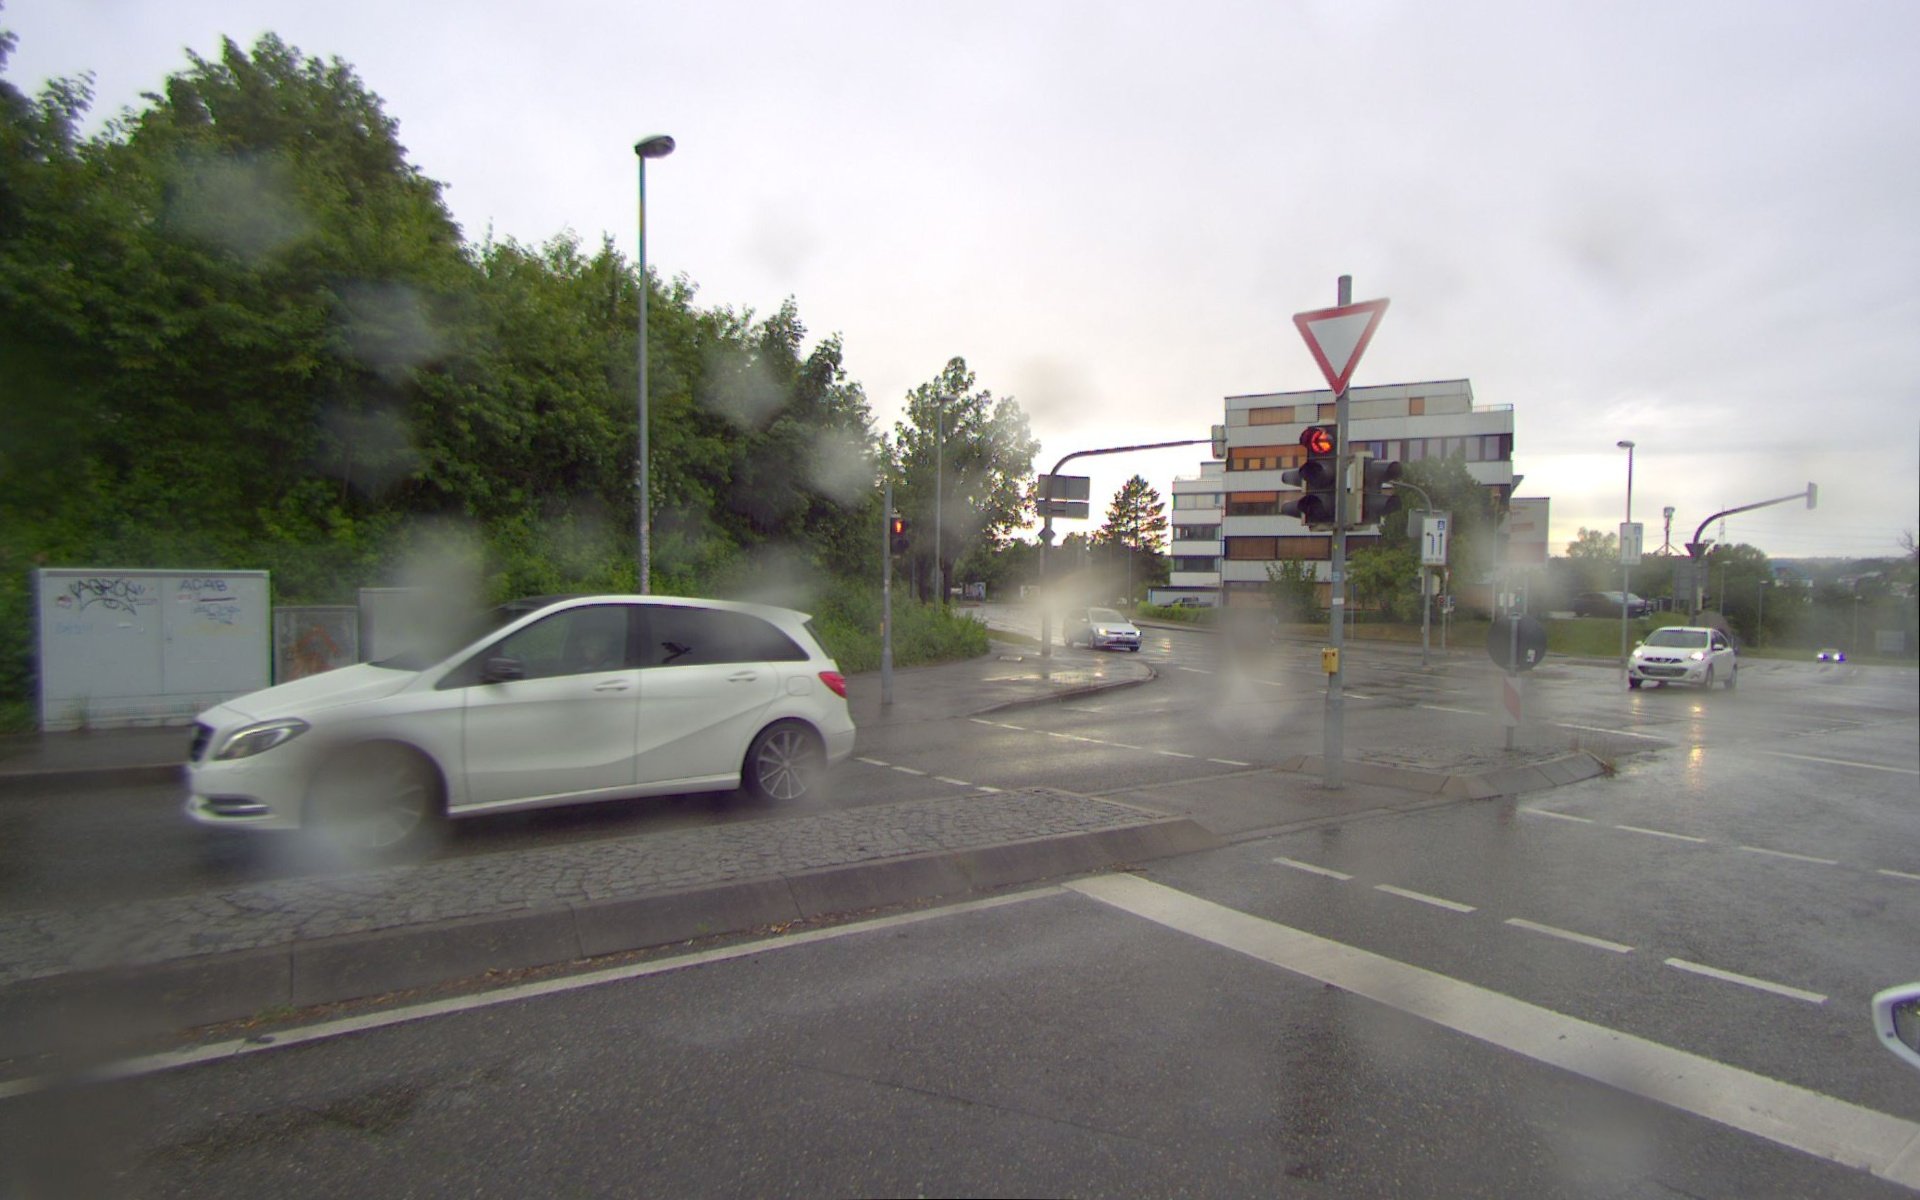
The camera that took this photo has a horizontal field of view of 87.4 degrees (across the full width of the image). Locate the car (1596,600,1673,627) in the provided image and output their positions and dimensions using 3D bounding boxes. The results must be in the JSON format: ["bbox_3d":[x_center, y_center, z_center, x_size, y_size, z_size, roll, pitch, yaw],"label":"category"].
[{"bbox_3d":[44.893,0.871,66.950,1.872,1.607,3.985,4,0,-17],"label":"car"}]

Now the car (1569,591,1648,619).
[{"bbox_3d":[42.427,0.304,65.795,1.874,1.607,3.981,4,0,-21],"label":"car"}]

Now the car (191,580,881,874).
[{"bbox_3d":[-2.803,0.729,7.213,4.285,1.524,1.651,2,-2,-39],"label":"car"}]

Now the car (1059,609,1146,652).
[{"bbox_3d":[5.084,1.071,36.517,1.731,1.381,4.523,2,0,-11],"label":"car"}]

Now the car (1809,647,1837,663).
[{"bbox_3d":[87.024,5.511,101.276,3.969,1.514,1.646,3,-1,-41],"label":"car"}]

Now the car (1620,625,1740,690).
[{"bbox_3d":[18.311,1.399,25.495,3.791,1.525,1.607,1,-1,-40],"label":"car"}]

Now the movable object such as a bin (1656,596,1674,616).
[{"bbox_3d":[55.716,0.501,79.374,1.069,1.456,1.443,3,0,34],"label":"movable object such as a bin"}]

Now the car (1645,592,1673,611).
[{"bbox_3d":[60.679,0.134,87.243,1.802,1.461,3.990,3,-1,33],"label":"car"}]

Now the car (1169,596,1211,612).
[{"bbox_3d":[22.107,0.404,96.399,3.686,1.418,2.000,1,1,19],"label":"car"}]
